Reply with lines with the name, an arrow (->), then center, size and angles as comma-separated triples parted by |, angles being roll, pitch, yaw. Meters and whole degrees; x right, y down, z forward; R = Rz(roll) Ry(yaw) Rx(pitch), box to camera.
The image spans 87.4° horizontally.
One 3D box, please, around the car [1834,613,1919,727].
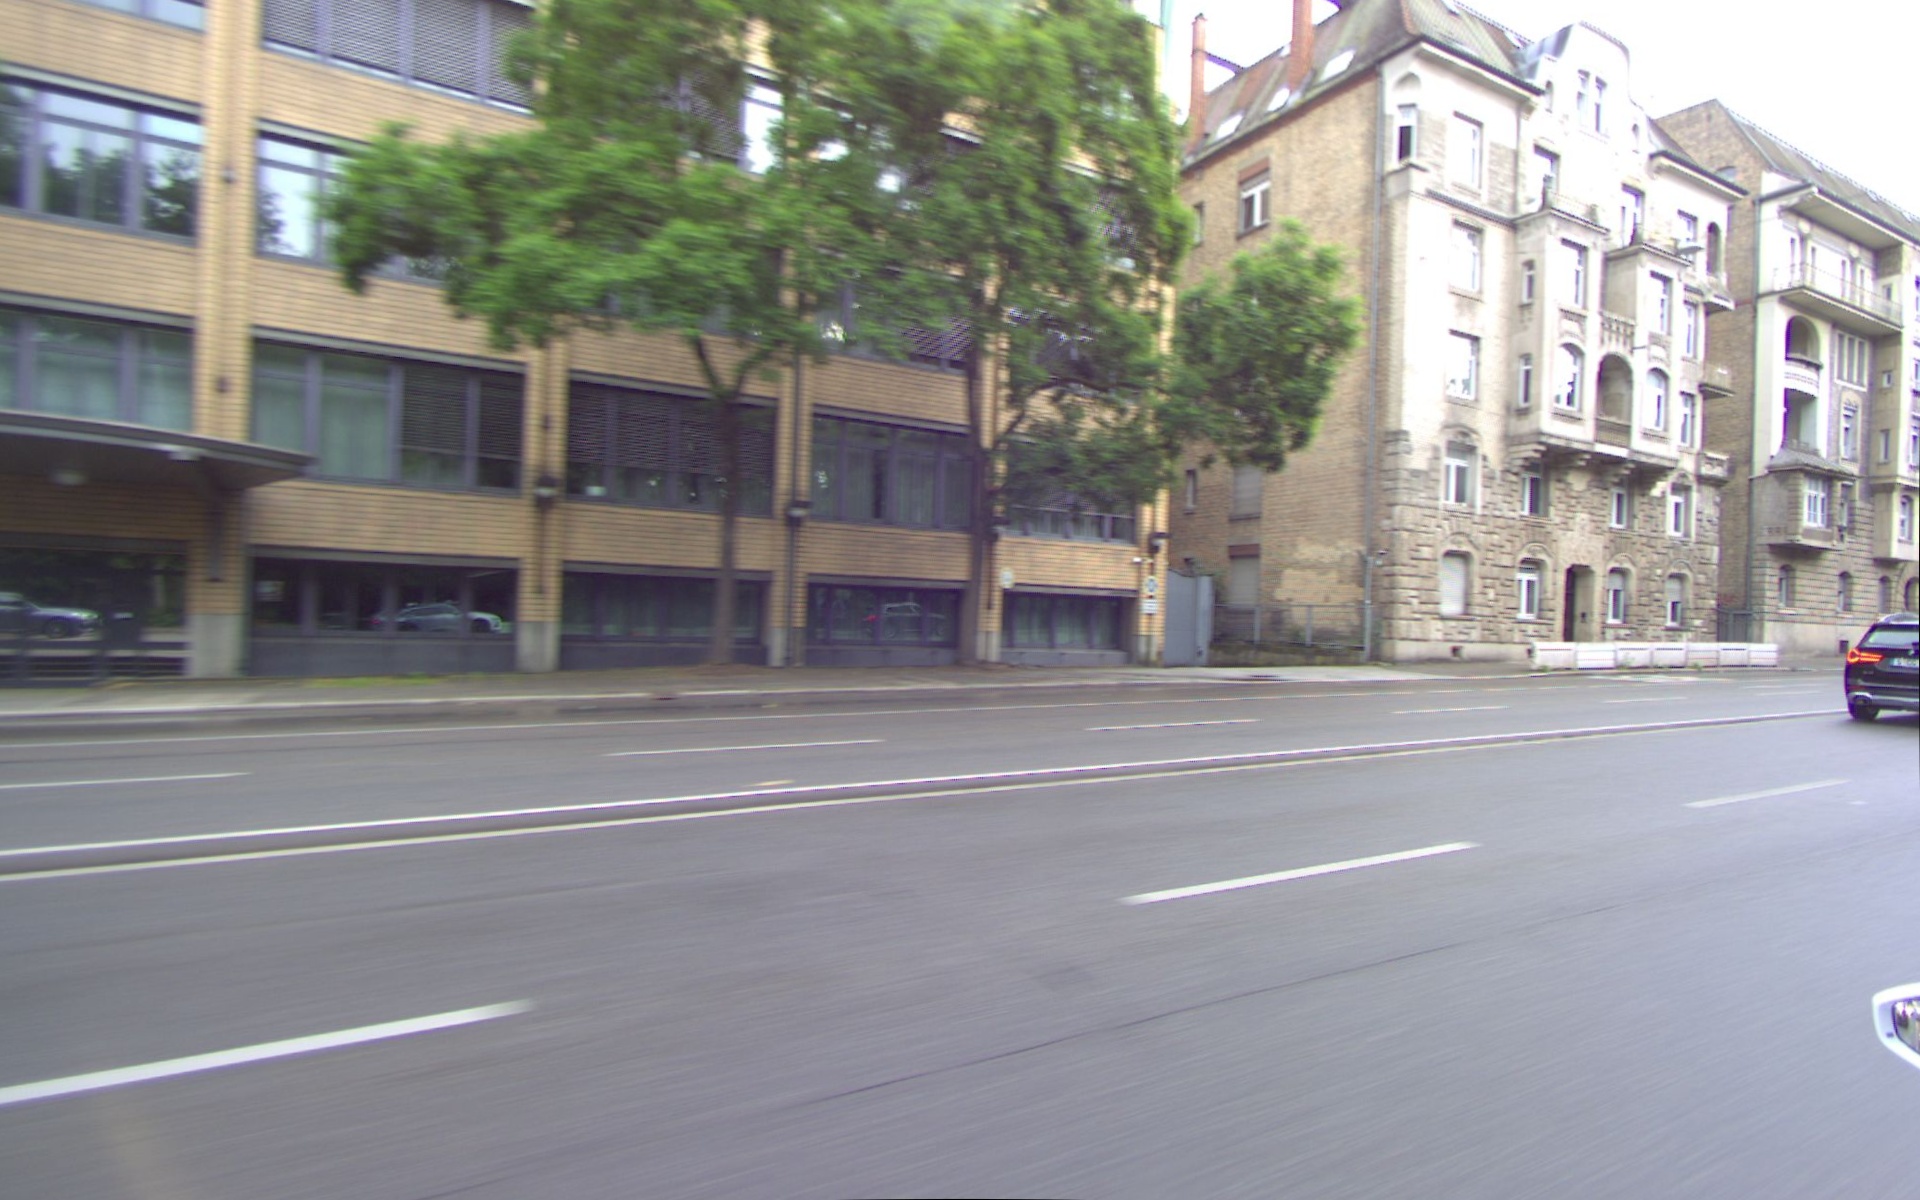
car -> 15.518, 1.065, 15.517 | 4.361, 1.607, 1.749 | 2, 0, -31
